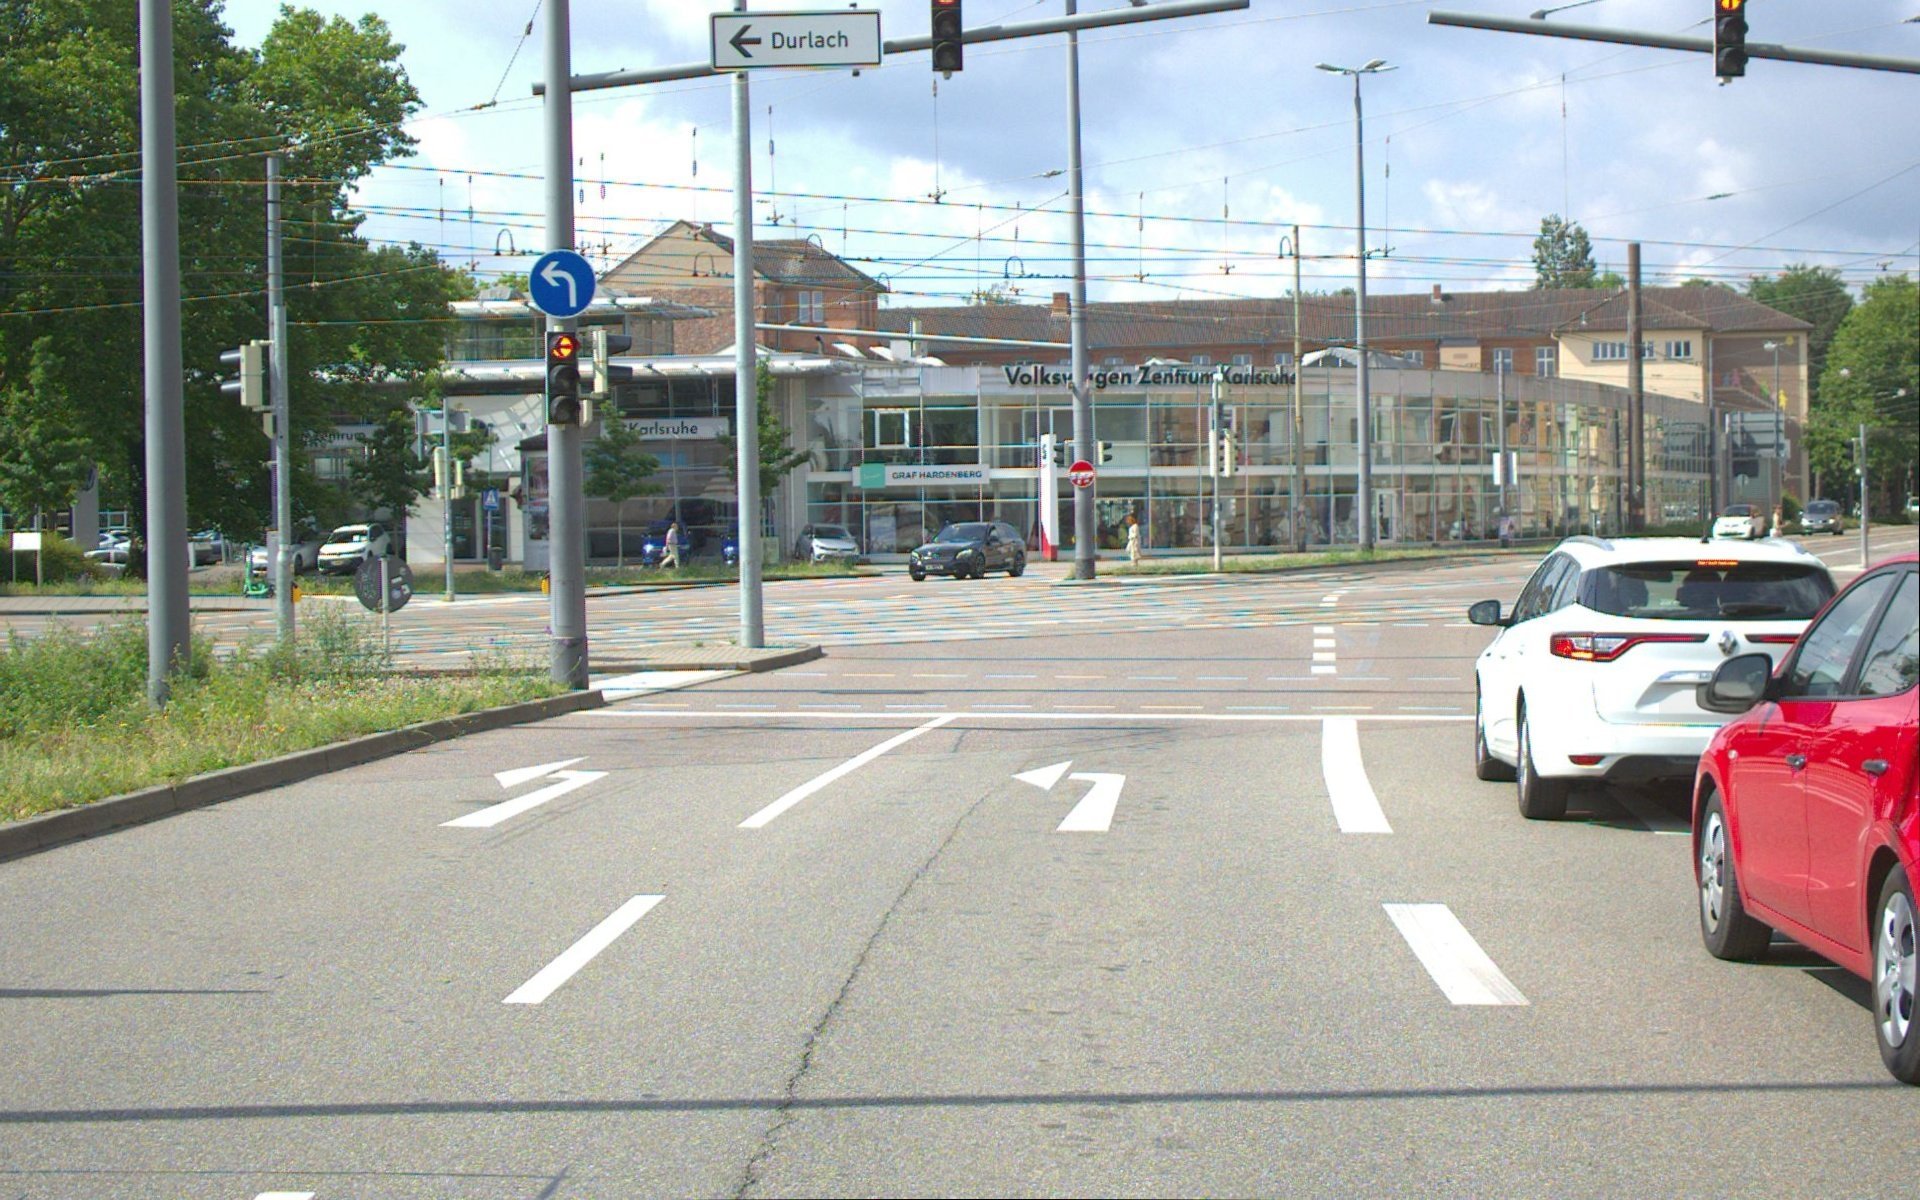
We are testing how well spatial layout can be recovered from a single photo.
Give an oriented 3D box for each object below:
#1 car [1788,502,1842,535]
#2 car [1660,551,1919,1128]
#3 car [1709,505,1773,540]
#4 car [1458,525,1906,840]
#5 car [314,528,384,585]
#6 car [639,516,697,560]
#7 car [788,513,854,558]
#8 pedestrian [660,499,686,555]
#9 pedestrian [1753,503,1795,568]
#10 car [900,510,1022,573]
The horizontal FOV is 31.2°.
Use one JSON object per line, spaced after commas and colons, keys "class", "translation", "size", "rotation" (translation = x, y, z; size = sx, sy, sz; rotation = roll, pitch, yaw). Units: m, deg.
{"class": "car", "translation": [41.979, -4.007, 168.739], "size": [1.996, 1.568, 3.995], "rotation": [0, 2, 23]}
{"class": "car", "translation": [3.384, 0.572, 10.505], "size": [1.816, 1.434, 4.067], "rotation": [0, 1, 3]}
{"class": "car", "translation": [33.399, -3.306, 146.999], "size": [1.996, 1.437, 3.995], "rotation": [0, 2, 23]}
{"class": "car", "translation": [3.772, 0.353, 18.649], "size": [1.848, 1.467, 4.334], "rotation": [-1, 1, 5]}
{"class": "car", "translation": [-22.442, -1.623, 126.363], "size": [1.993, 2.007, 4.001], "rotation": [-1, 1, -3]}
{"class": "car", "translation": [-10.534, -2.245, 124.212], "size": [1.993, 1.546, 4.079], "rotation": [-1, 1, -4]}
{"class": "car", "translation": [-5.083, -2.345, 125.266], "size": [1.993, 1.590, 4.001], "rotation": [-1, 1, -8]}
{"class": "pedestrian", "translation": [-10.145, -2.585, 121.512], "size": [0.881, 1.941, 0.888], "rotation": [-1, 1, -3]}
{"class": "pedestrian", "translation": [19.214, -1.521, 81.130], "size": [0.673, 1.530, 0.674], "rotation": [-2, 2, -36]}
{"class": "car", "translation": [0.060, -1.503, 87.343], "size": [1.995, 1.525, 3.997], "rotation": [0, 1, 17]}
